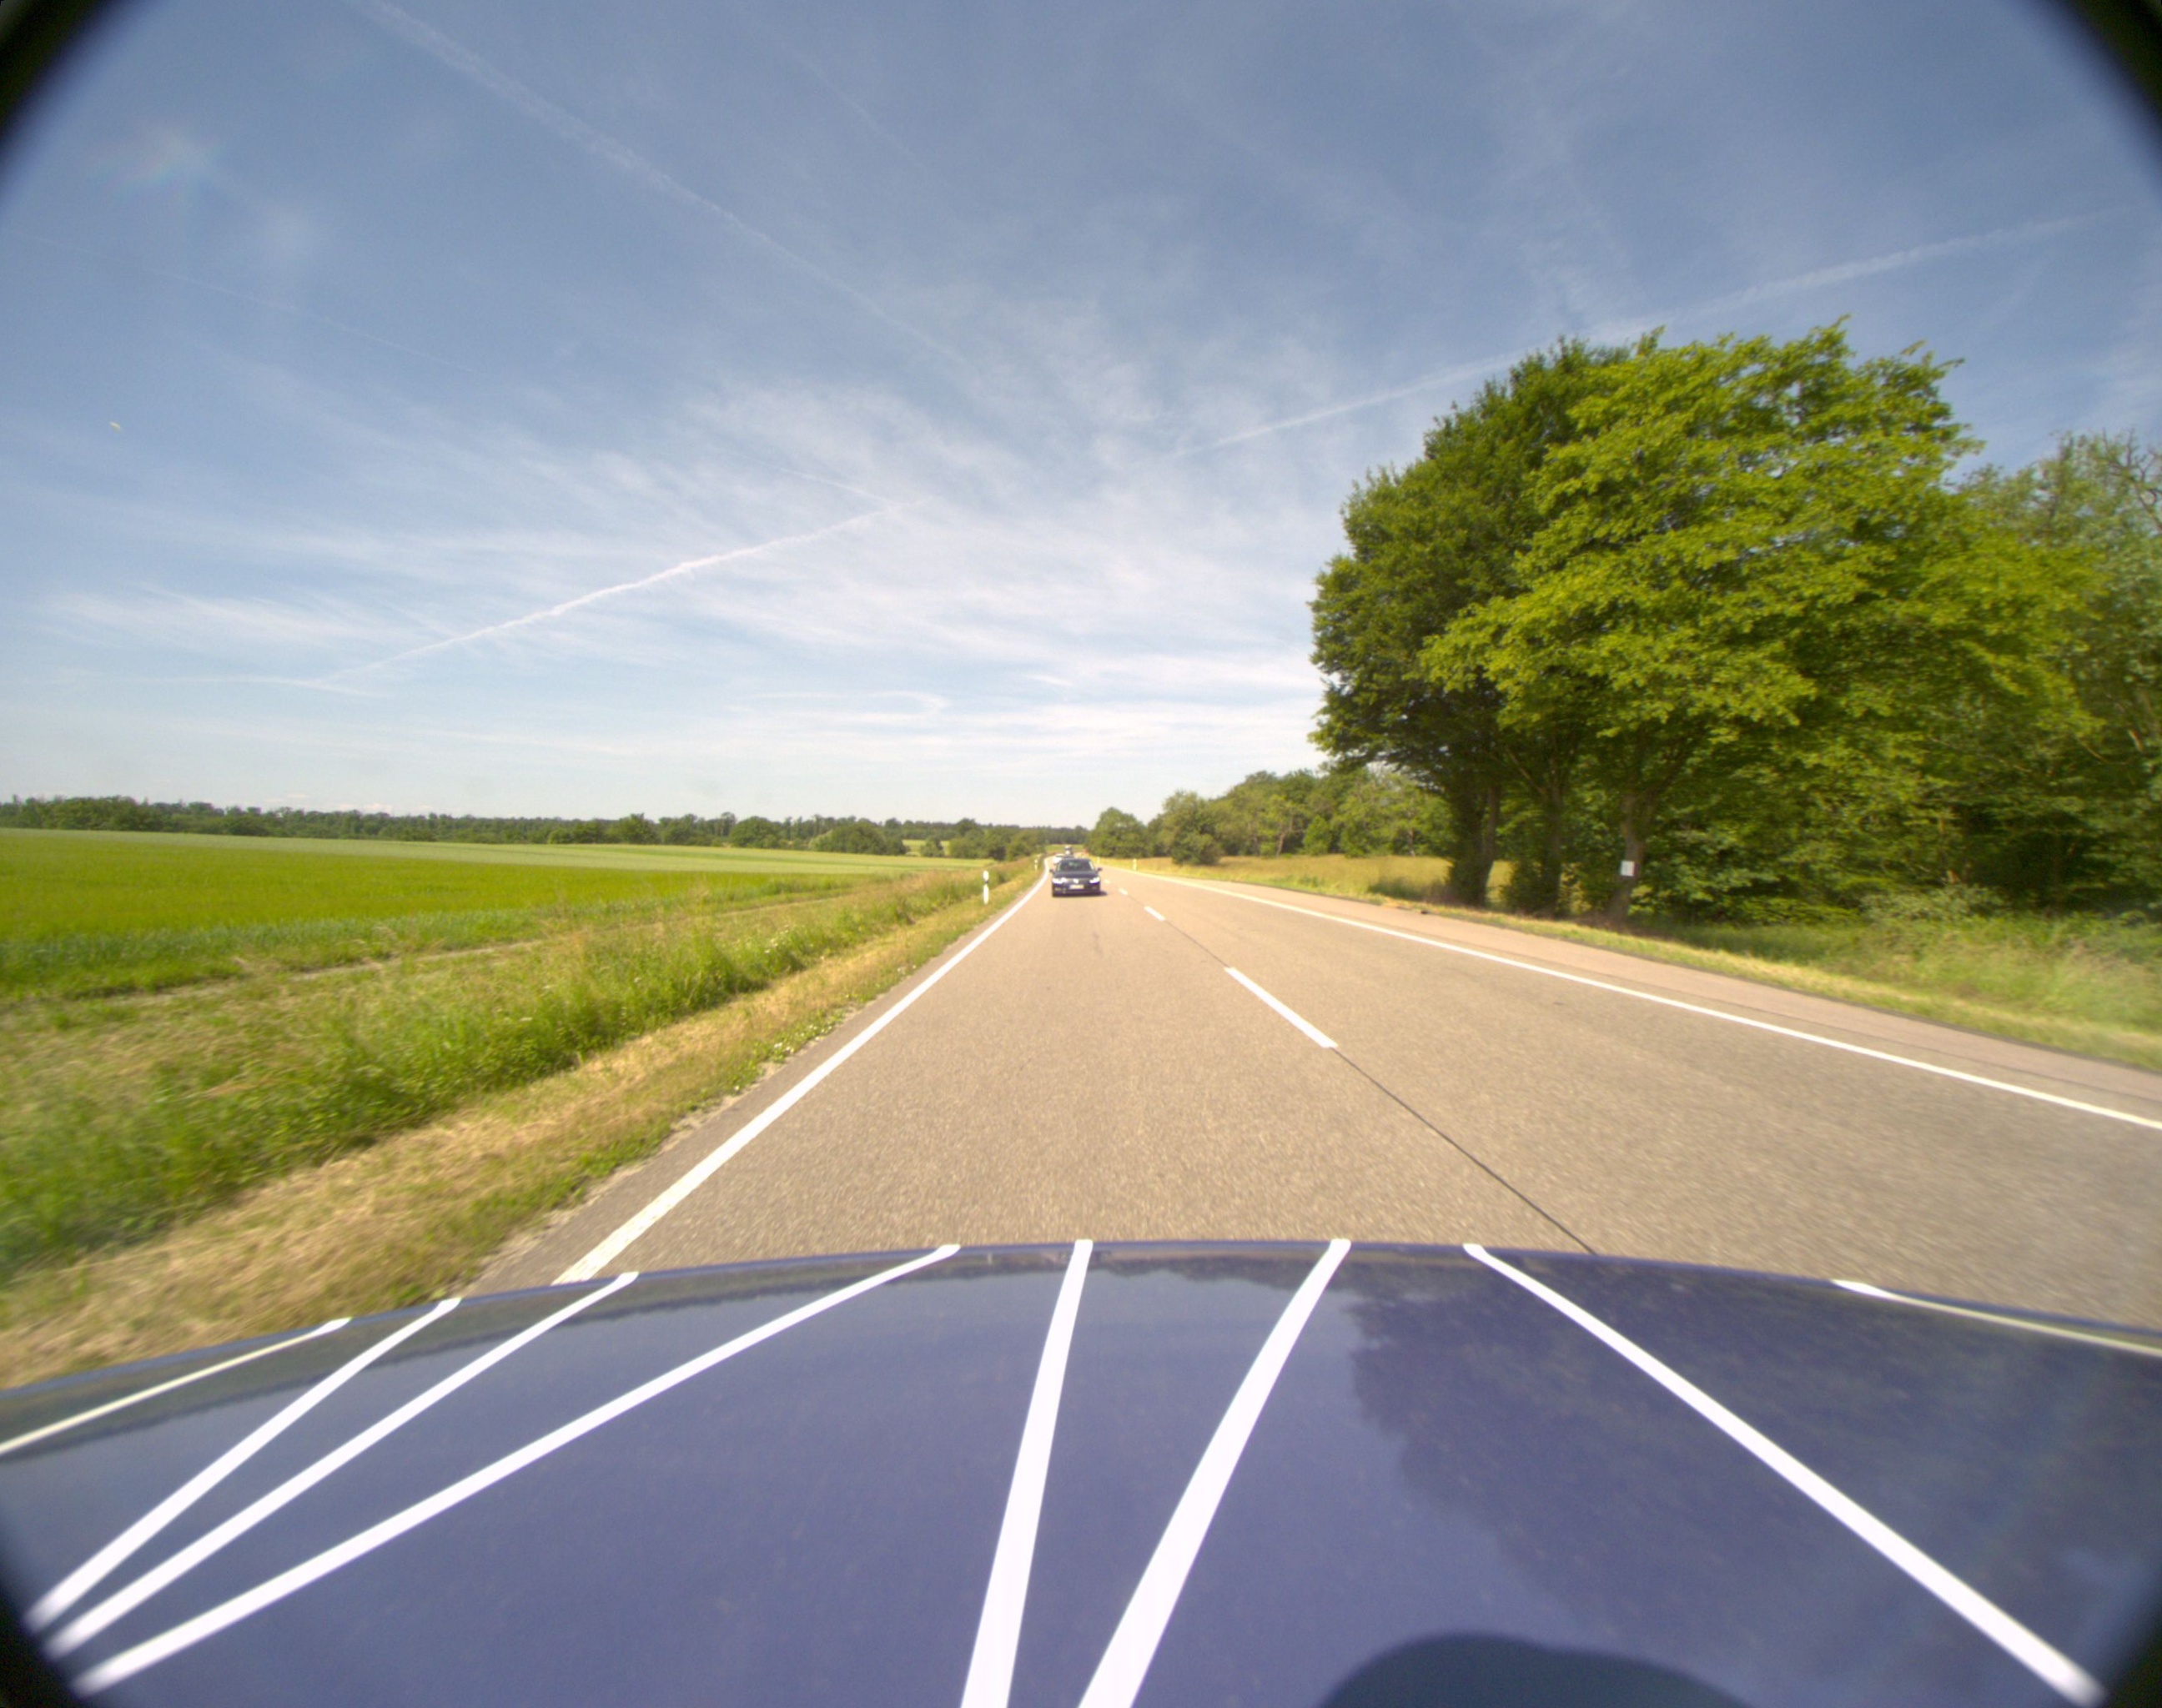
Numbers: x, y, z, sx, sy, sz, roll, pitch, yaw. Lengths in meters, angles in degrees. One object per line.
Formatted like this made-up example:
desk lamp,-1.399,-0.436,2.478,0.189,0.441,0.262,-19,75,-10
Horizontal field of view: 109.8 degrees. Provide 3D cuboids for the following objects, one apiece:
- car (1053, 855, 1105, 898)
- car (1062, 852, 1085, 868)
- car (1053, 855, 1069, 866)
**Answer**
car,-0.160,0.831,29.970,1.822,1.501,4.499,-2,0,-3
car,-0.792,0.576,74.955,1.929,1.501,4.289,-1,0,-5
car,-2.775,0.884,104.508,1.929,1.501,4.290,1,0,-4
